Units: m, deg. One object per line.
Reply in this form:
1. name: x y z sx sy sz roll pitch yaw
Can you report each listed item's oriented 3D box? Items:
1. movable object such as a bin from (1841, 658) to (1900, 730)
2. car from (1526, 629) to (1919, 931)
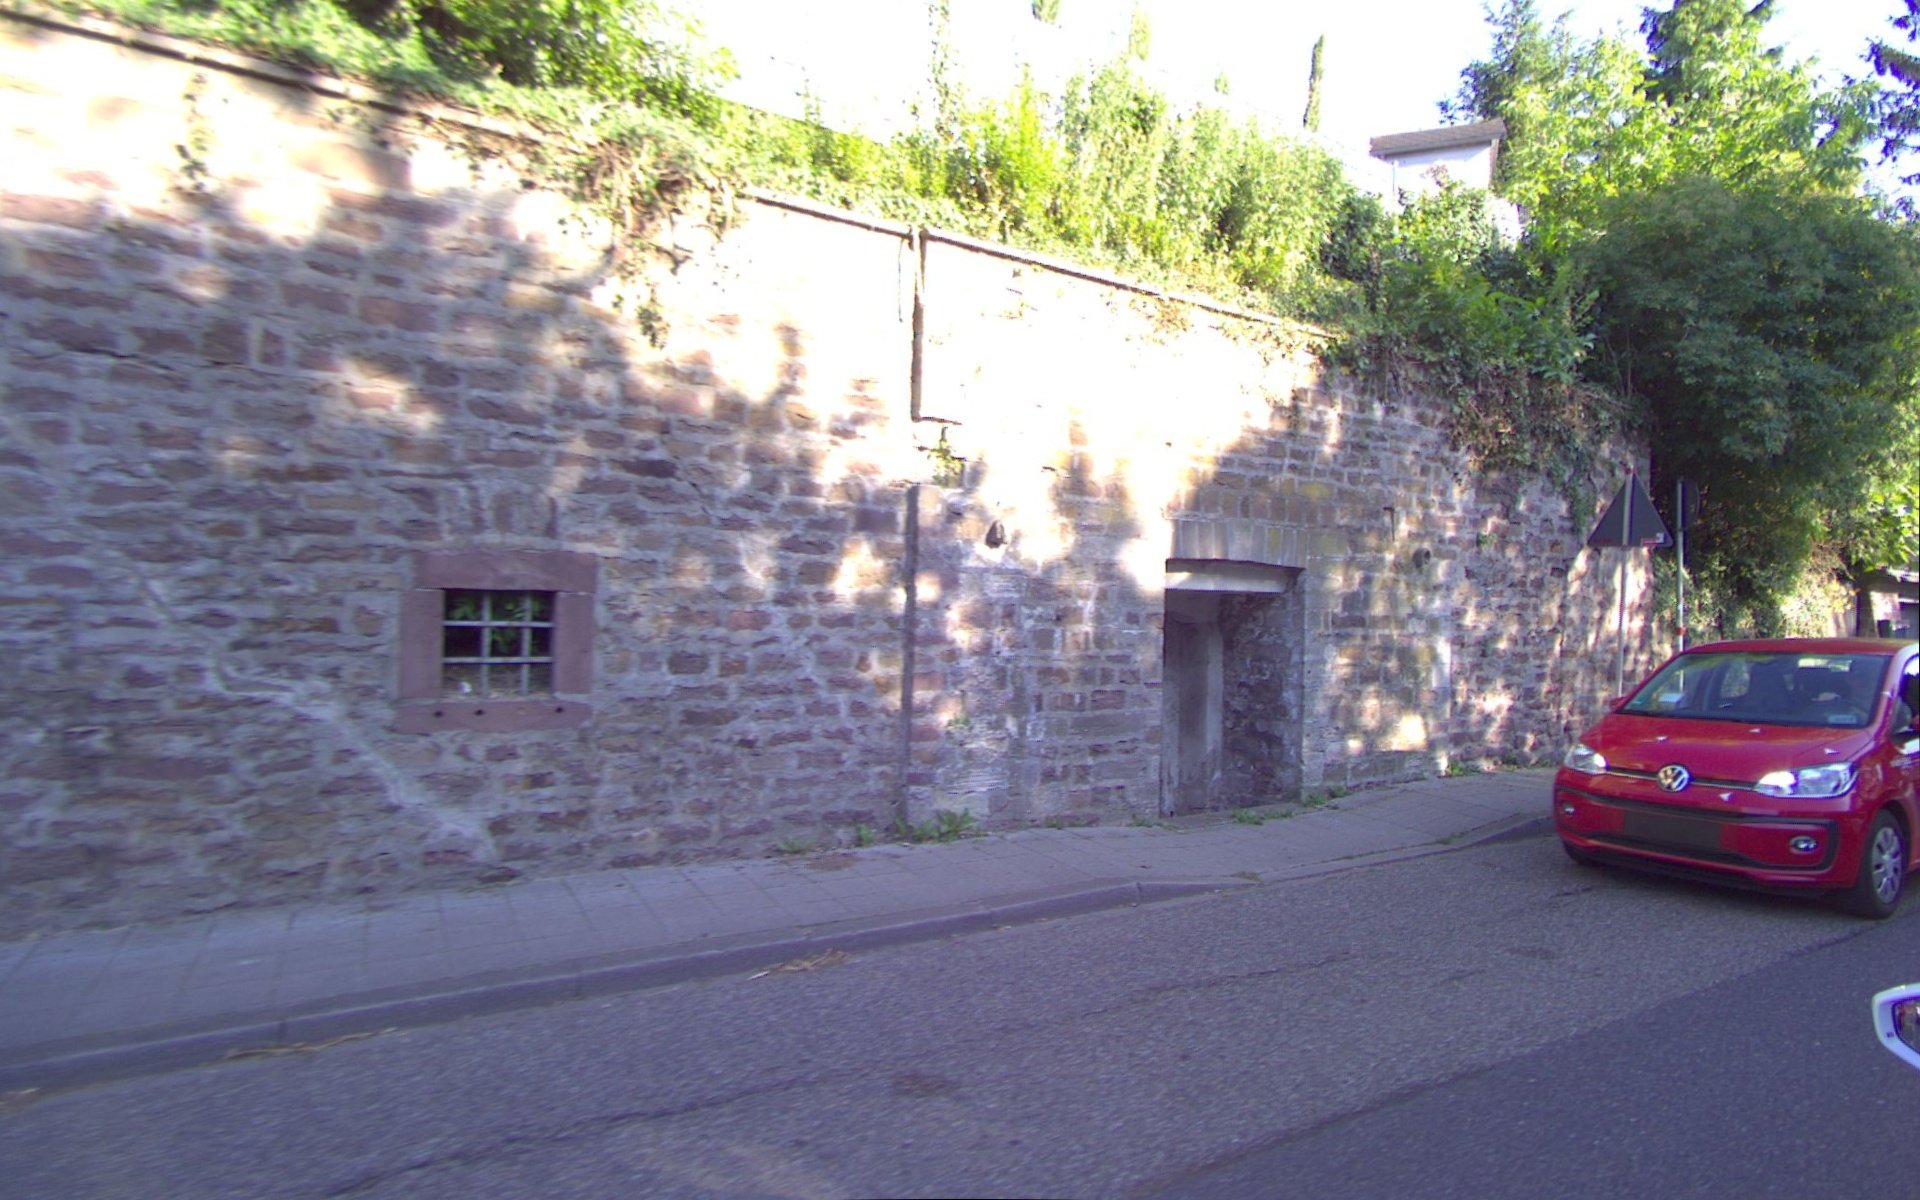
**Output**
1. movable object such as a bin: 13.328 1.363 14.701 0.577 0.977 0.487 1 1 -33
2. car: 5.464 0.955 6.534 3.527 1.485 1.543 1 -3 -30
